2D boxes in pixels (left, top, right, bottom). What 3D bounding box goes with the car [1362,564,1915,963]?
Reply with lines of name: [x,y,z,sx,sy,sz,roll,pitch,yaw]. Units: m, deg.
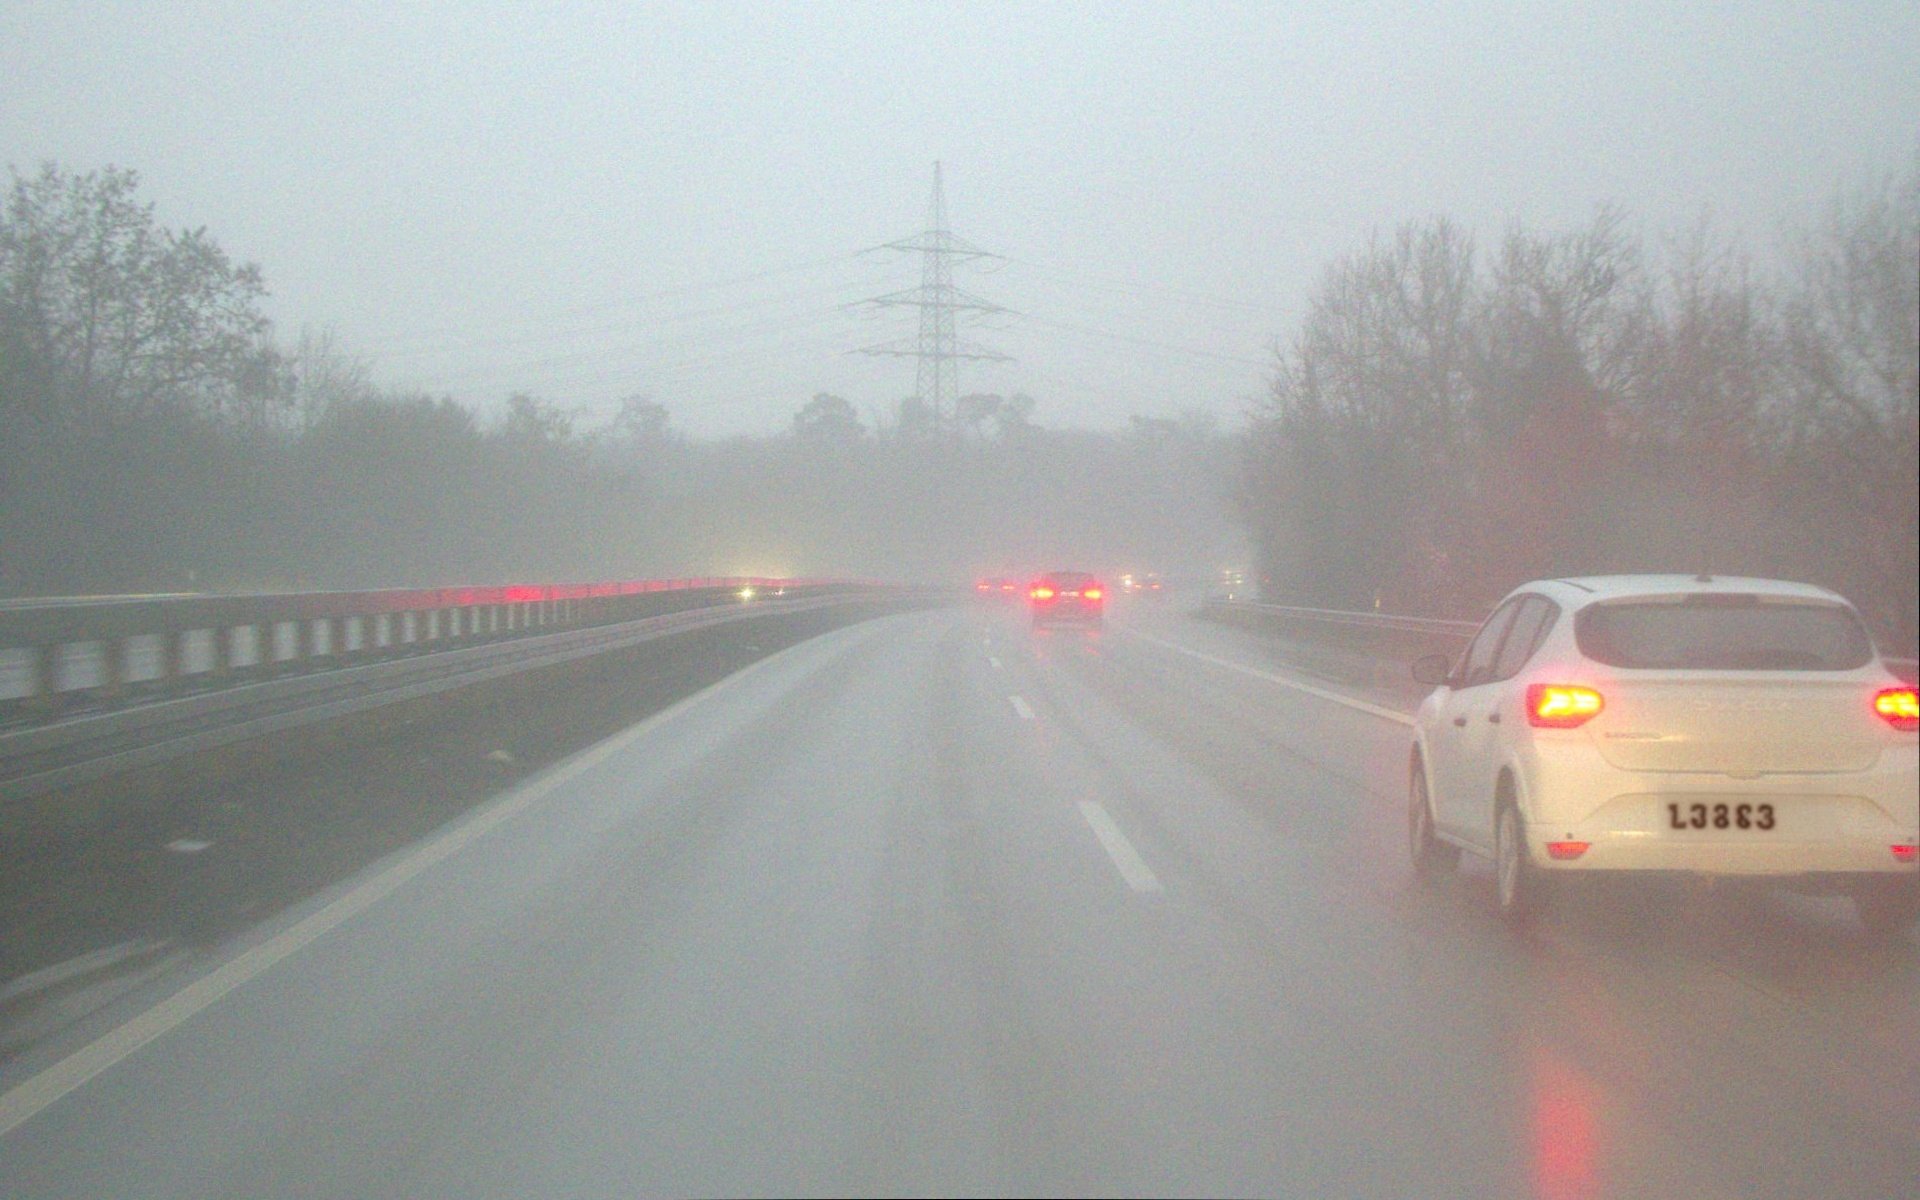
car: [3.050,0.662,16.230,1.845,1.630,3.768,0,1,0]
